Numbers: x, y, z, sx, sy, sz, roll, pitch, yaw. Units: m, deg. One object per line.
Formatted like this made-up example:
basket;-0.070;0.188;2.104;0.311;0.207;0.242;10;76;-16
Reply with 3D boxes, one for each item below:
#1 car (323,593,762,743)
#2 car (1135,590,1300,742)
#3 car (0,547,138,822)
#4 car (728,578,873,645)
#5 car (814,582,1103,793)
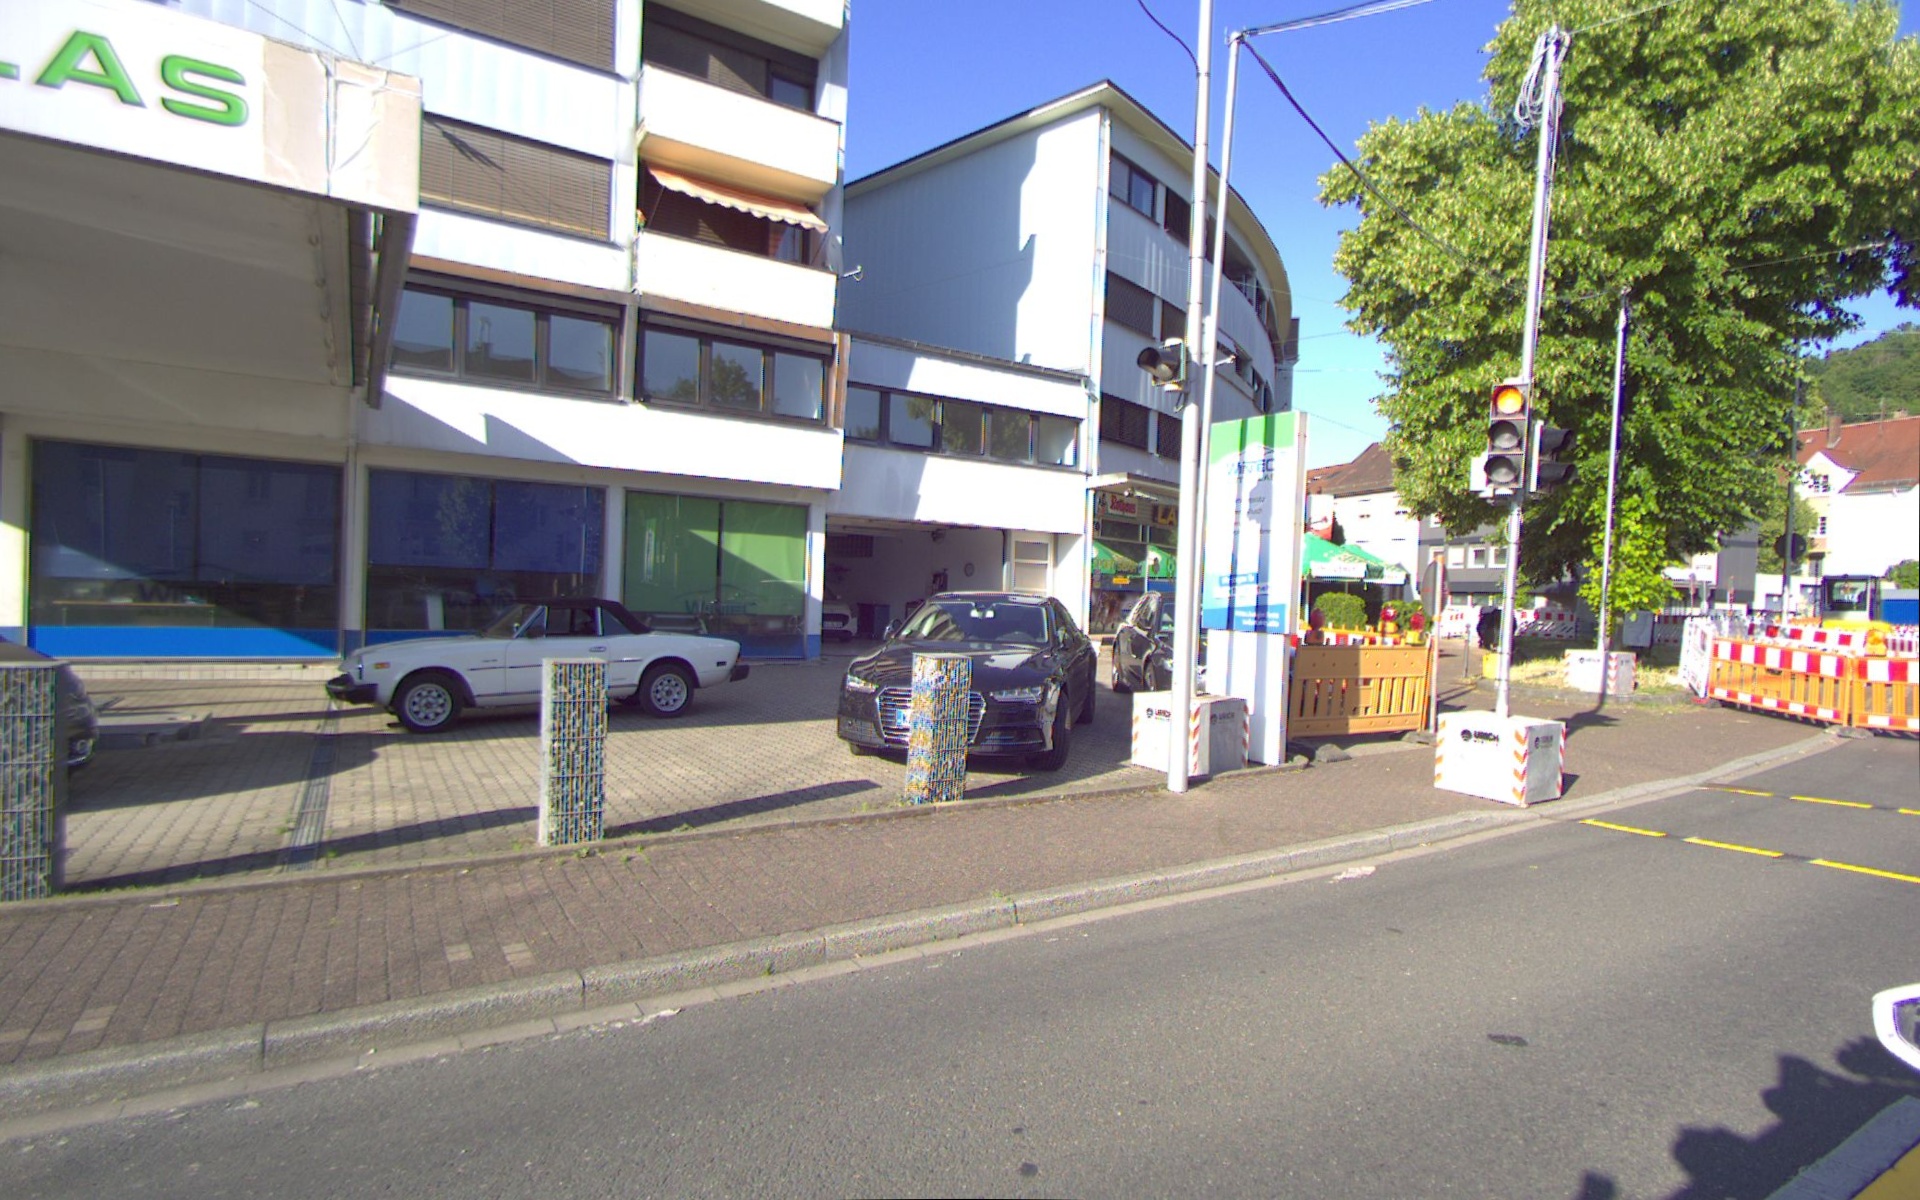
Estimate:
car;-4.339;0.600;10.702;4.097;1.301;1.576;0;1;-35
car;3.120;0.658;12.619;1.617;1.474;4.301;2;2;12
car;-7.178;0.430;6.029;3.325;1.589;1.623;2;1;8
car;-3.983;0.228;24.582;1.980;1.486;3.961;1;1;-34
car;0.259;0.602;9.643;1.872;1.474;4.315;2;2;12
